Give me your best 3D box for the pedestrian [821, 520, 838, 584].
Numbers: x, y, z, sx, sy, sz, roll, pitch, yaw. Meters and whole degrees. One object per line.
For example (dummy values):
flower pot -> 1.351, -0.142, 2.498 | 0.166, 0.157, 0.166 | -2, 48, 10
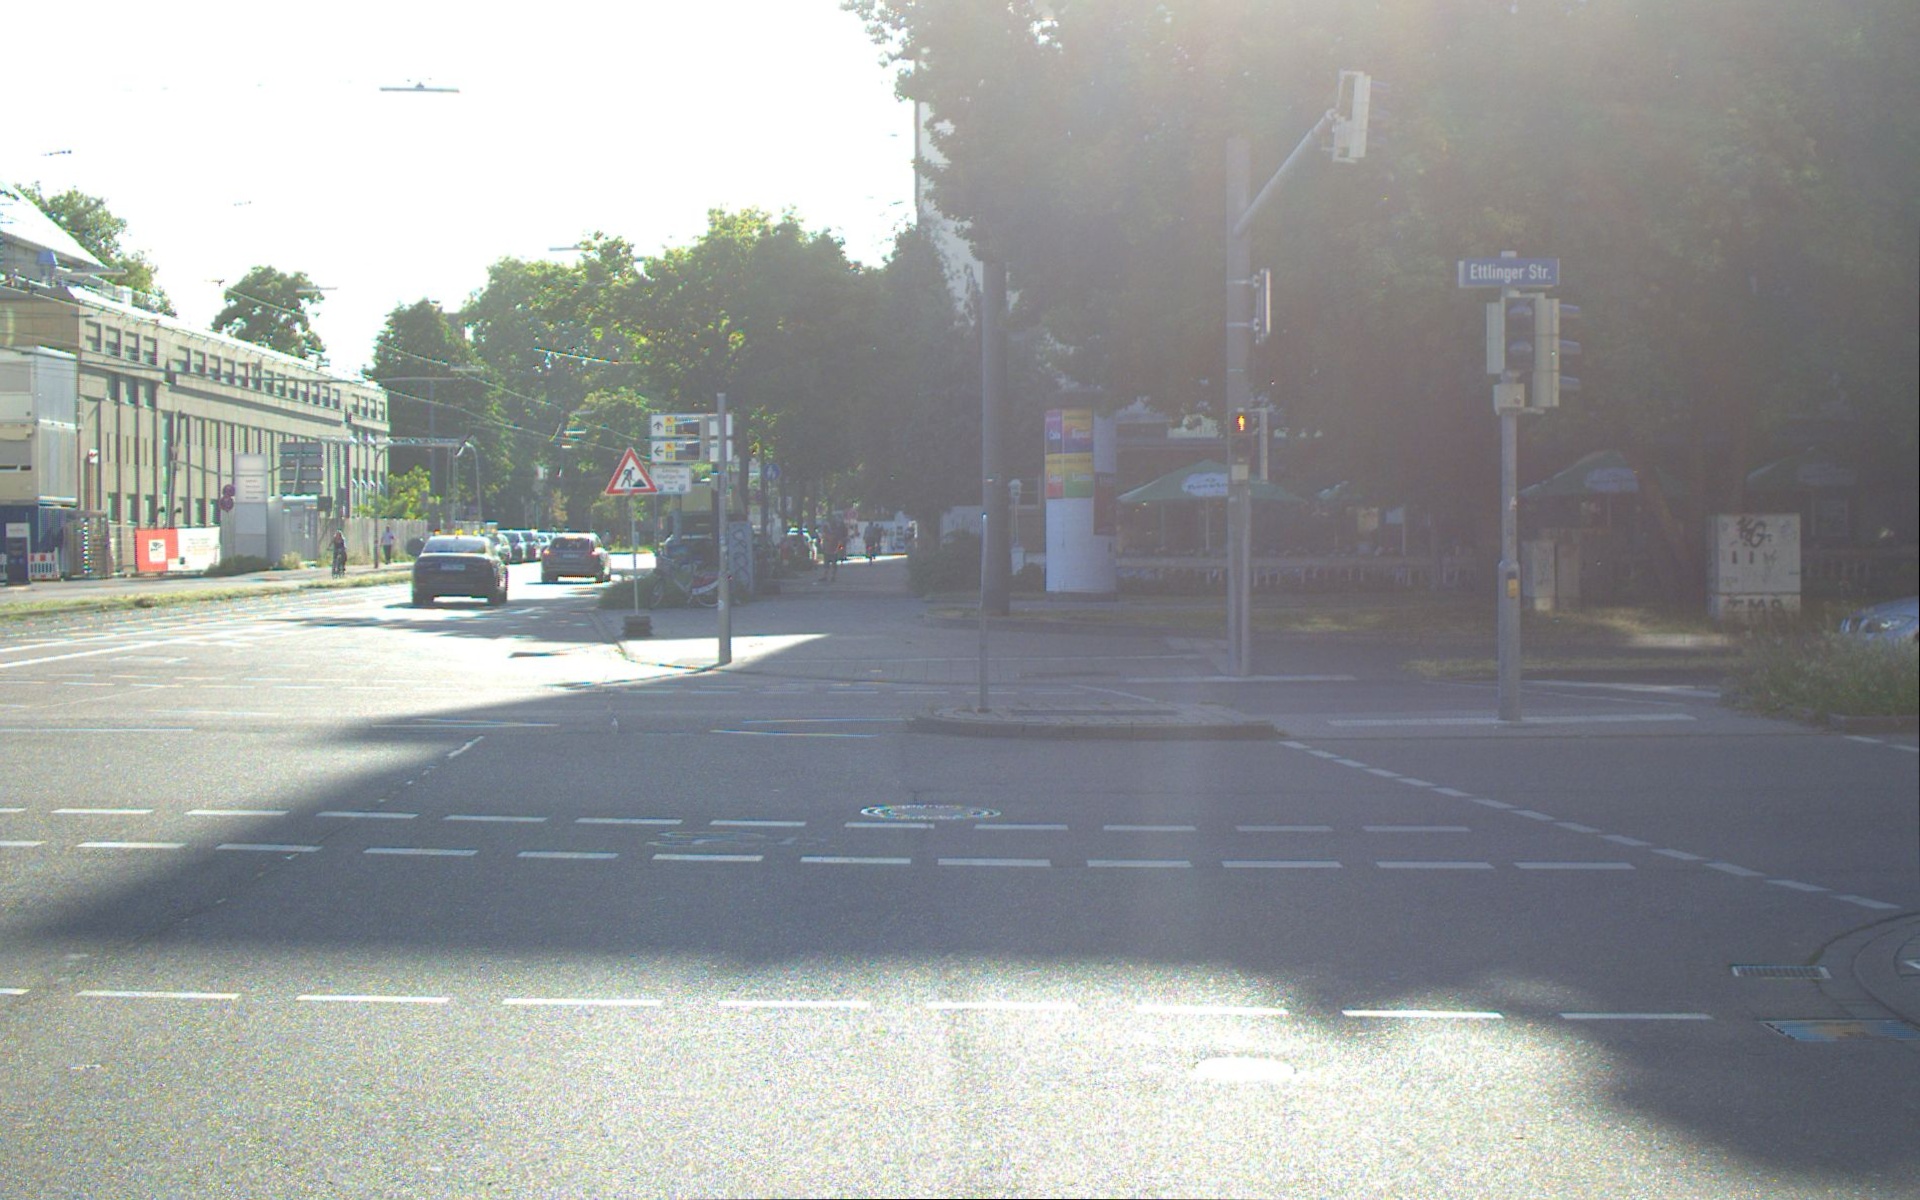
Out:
pedestrian -> -3.714, -1.366, 97.711 | 0.463, 1.807, 0.503 | 0, 1, -5

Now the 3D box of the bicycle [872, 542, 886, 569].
bicycle -> -3.240, -1.787, 137.576 | 0.575, 1.073, 1.831 | 0, 1, -1

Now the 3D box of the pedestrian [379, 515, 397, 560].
pedestrian -> -25.765, -2.797, 154.856 | 0.674, 2.007, 0.751 | 1, 0, -3

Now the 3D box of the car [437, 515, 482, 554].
car -> -22.775, -2.970, 156.451 | 1.692, 1.712, 4.248 | 1, 1, -4

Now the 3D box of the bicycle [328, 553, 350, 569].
bicycle -> -20.285, -1.280, 112.266 | 0.501, 0.513, 1.258 | 1, 1, -1

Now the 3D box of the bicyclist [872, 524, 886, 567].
bicyclist -> -3.239, -2.183, 137.563 | 0.569, 1.685, 0.700 | 0, 1, -1

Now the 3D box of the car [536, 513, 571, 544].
car -> -23.016, -4.035, 194.697 | 1.692, 1.712, 4.248 | 1, 1, -4

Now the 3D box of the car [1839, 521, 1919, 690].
car -> 10.760, 0.021, 33.419 | 3.993, 1.605, 1.650 | -1, 1, -1

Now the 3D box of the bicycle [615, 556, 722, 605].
bicycle -> -5.726, -0.385, 67.487 | 2.018, 0.888, 0.650 | -2, 0, 27

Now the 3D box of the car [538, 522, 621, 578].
car -> -11.414, -1.521, 103.505 | 1.892, 1.560, 4.808 | 3, 1, 0

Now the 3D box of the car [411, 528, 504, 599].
car -> -10.683, -0.798, 73.269 | 1.660, 1.450, 4.433 | 1, 1, -5

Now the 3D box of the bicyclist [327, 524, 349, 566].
bicyclist -> -20.302, -1.795, 112.279 | 0.596, 1.372, 0.638 | 1, 0, -2
